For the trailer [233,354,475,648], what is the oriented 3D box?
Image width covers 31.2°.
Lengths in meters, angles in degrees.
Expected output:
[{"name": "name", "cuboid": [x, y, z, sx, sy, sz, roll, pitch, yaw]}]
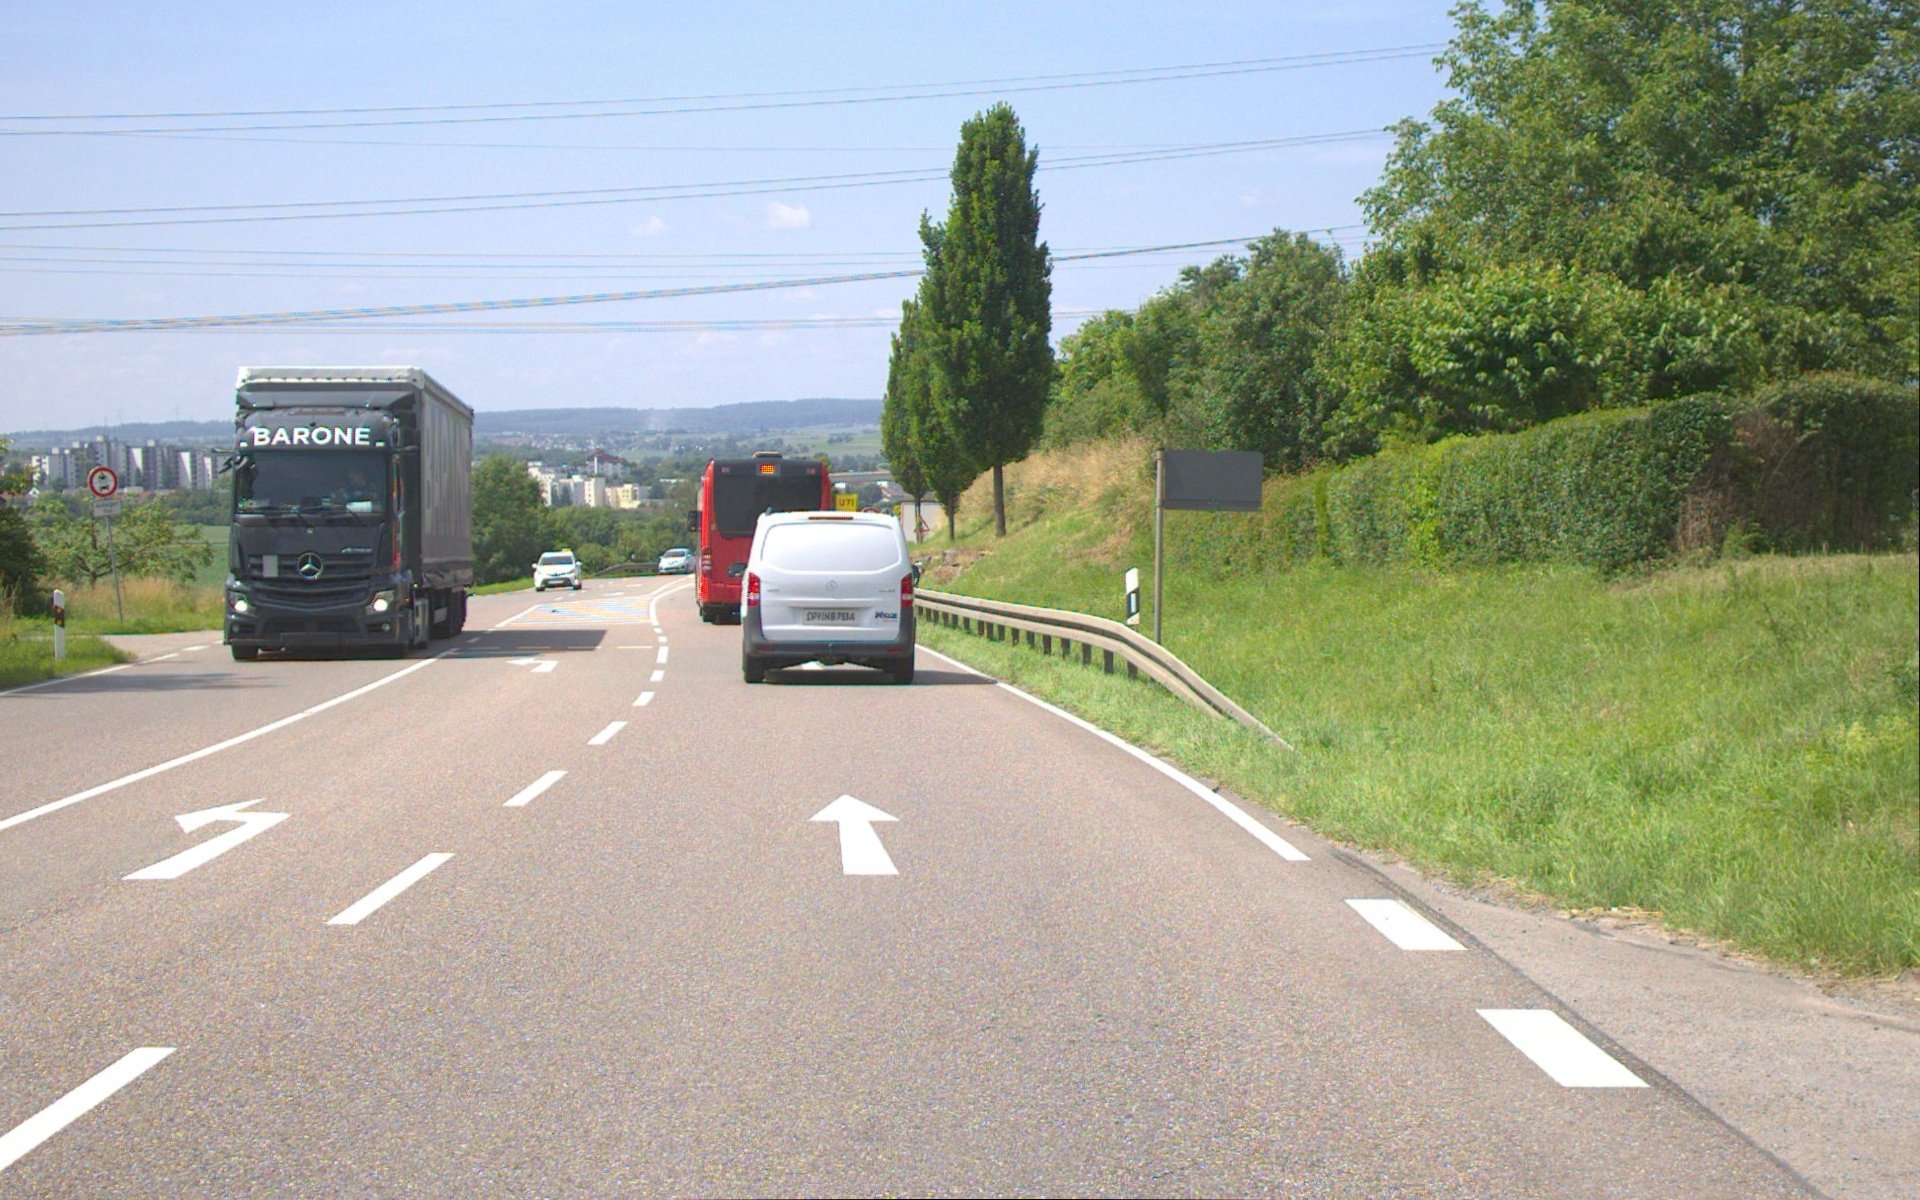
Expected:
[{"name": "trailer", "cuboid": [-9.511, -1.523, 55.372, 2.592, 4.128, 13.744, -1, 1, -5]}]

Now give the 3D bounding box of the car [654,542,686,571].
[{"name": "car", "cuboid": [-17.673, -2.671, 209.611, 1.766, 1.681, 3.826, -2, 1, -3]}]

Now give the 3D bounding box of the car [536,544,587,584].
[{"name": "car", "cuboid": [-16.428, -1.508, 142.025, 1.853, 1.560, 4.075, -2, 1, -4]}]

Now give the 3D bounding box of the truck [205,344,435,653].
[{"name": "truck", "cuboid": [-8.940, -1.410, 48.556, 2.585, 4.090, 5.443, -1, 1, -4]}]

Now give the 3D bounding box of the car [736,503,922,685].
[{"name": "car", "cuboid": [-1.423, -0.120, 38.761, 1.923, 1.883, 4.000, -2, 2, -1]}]

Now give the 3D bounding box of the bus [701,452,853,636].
[{"name": "bus", "cuboid": [-4.014, -1.354, 72.731, 2.747, 3.341, 13.225, -3, 3, -4]}]
